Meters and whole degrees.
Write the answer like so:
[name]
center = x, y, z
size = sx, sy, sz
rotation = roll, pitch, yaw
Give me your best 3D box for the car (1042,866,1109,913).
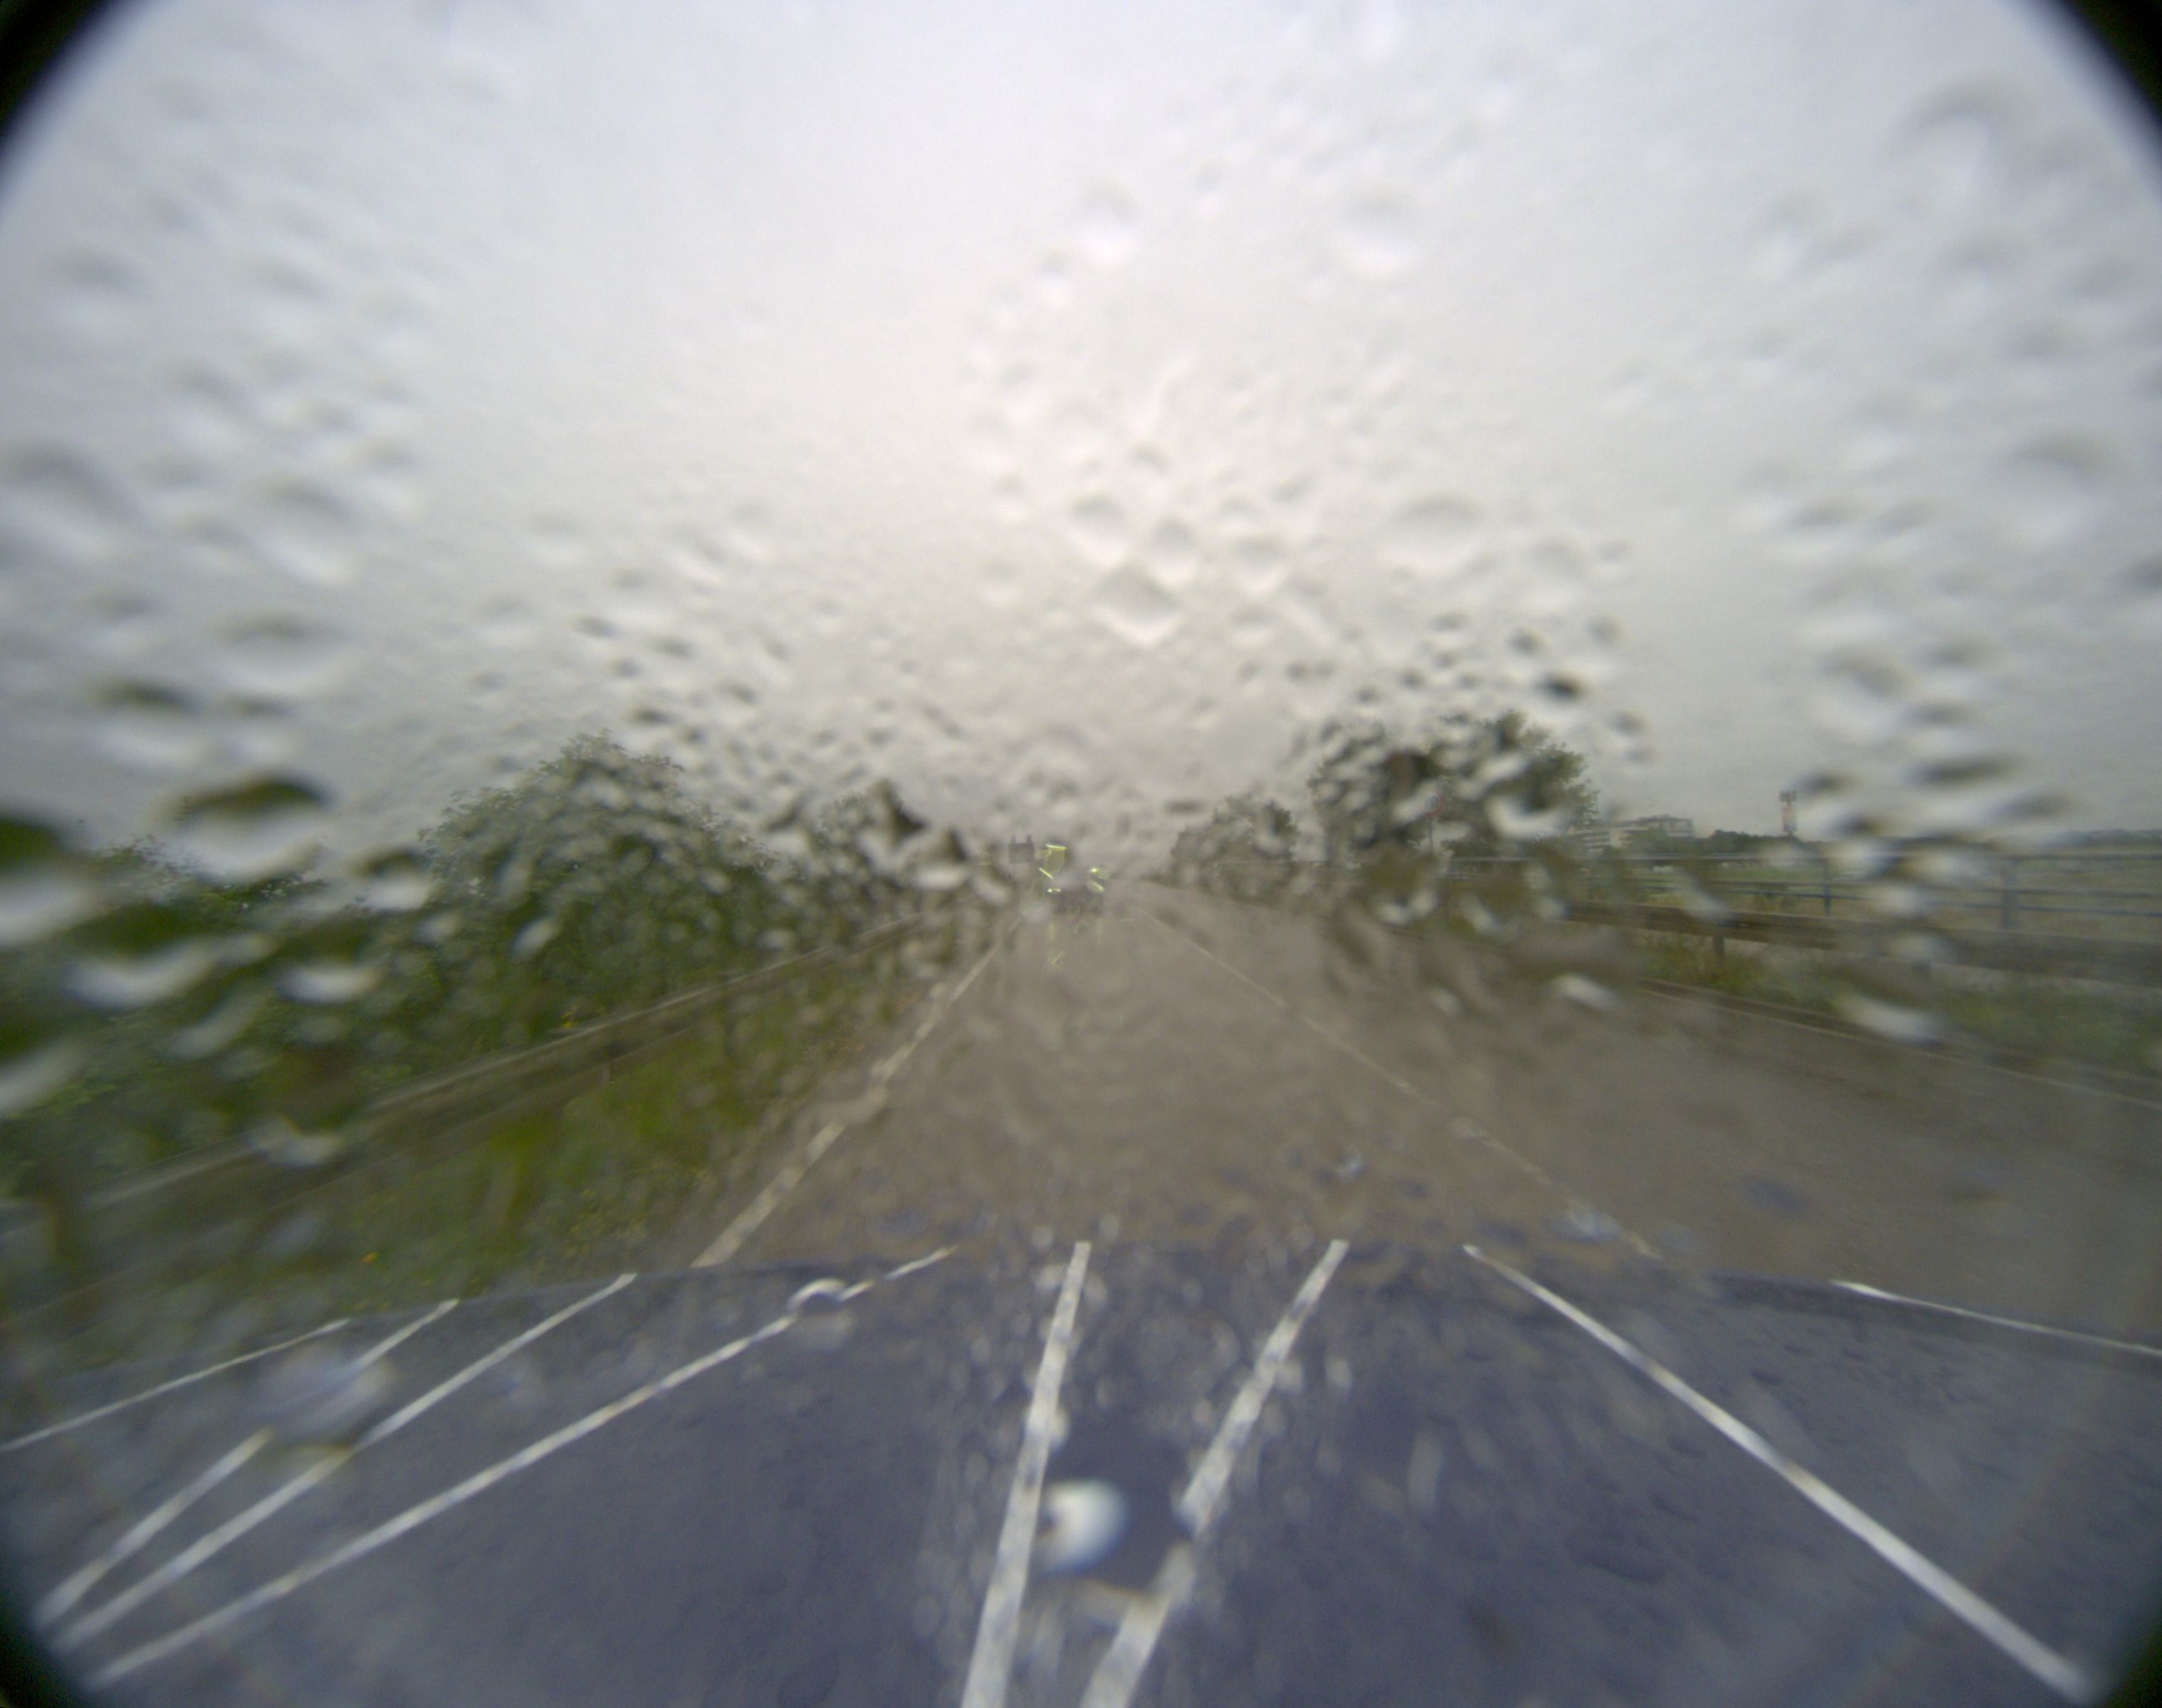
[car]
center = -0.275, 1.095, 25.103
size = 1.910, 1.361, 4.564
rotation = -1, -1, -4
